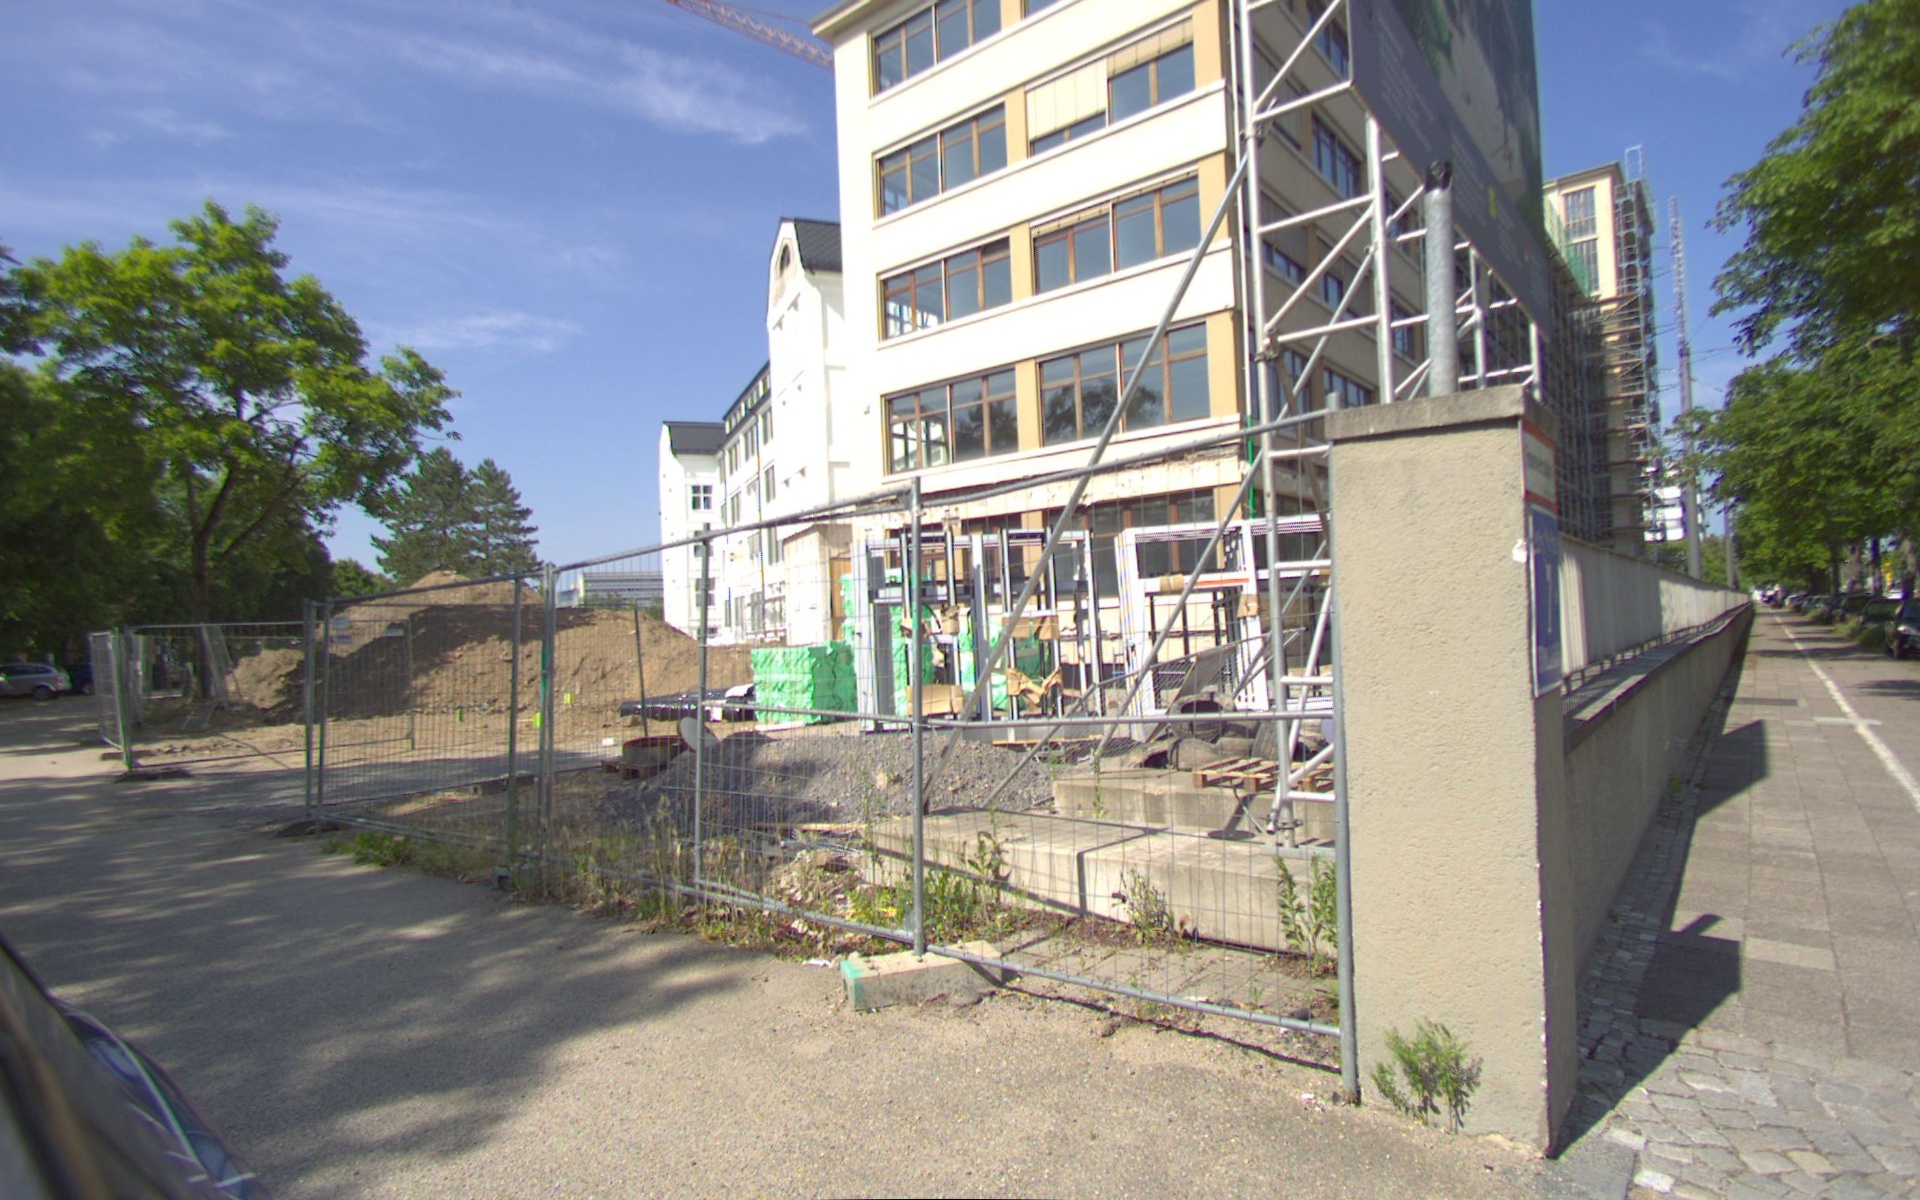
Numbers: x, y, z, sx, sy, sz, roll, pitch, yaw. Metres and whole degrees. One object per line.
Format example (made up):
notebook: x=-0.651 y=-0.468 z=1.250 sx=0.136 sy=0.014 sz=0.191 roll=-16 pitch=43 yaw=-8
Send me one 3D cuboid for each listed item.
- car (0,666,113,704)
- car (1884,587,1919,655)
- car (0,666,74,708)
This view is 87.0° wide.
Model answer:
car: x=-40.669 y=3.775 z=45.298 sx=3.932 sy=1.453 sz=2.006 roll=-1 pitch=-2 yaw=-31
car: x=22.665 y=0.422 z=23.182 sx=1.819 sy=1.464 sz=3.949 roll=-4 pitch=-2 yaw=38
car: x=-38.247 y=3.515 z=40.475 sx=3.932 sy=1.519 sz=2.006 roll=-1 pitch=-2 yaw=-31
